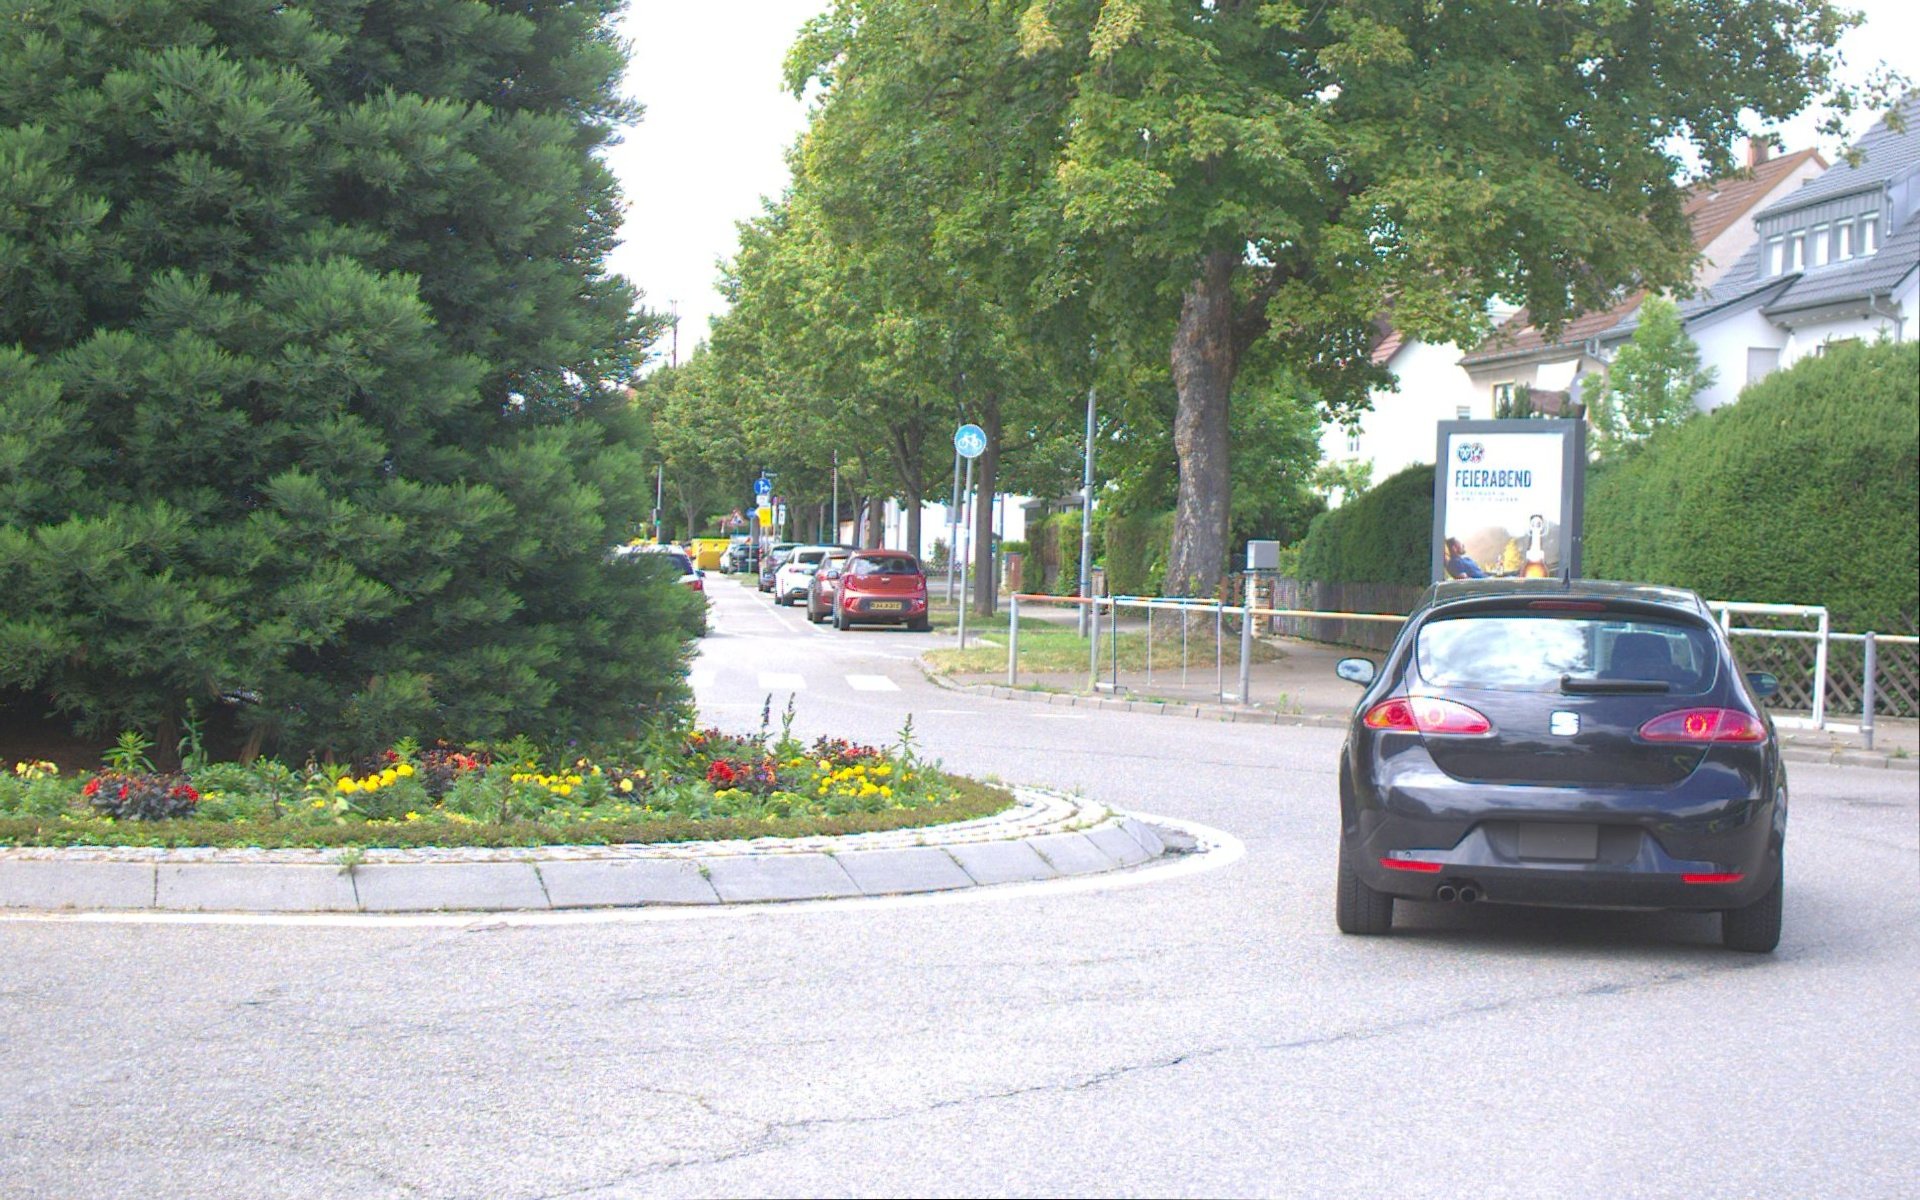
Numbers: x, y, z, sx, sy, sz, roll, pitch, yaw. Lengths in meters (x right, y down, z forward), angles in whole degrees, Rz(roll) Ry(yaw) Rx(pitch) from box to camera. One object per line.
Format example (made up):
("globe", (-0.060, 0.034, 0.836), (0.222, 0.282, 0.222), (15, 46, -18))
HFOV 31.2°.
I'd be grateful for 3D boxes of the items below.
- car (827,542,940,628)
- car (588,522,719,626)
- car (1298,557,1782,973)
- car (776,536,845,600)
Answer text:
("car", (-1.433, -0.295, 63.534), (1.474, 1.484, 3.383), (1, 1, -12))
("car", (-5.191, -0.461, 57.750), (1.993, 1.607, 4.001), (2, 1, -7))
("car", (2.550, 0.577, 14.684), (1.733, 1.481, 3.998), (1, 1, 12))
("car", (-3.716, -0.809, 84.949), (1.594, 1.505, 3.601), (1, 1, -4))
